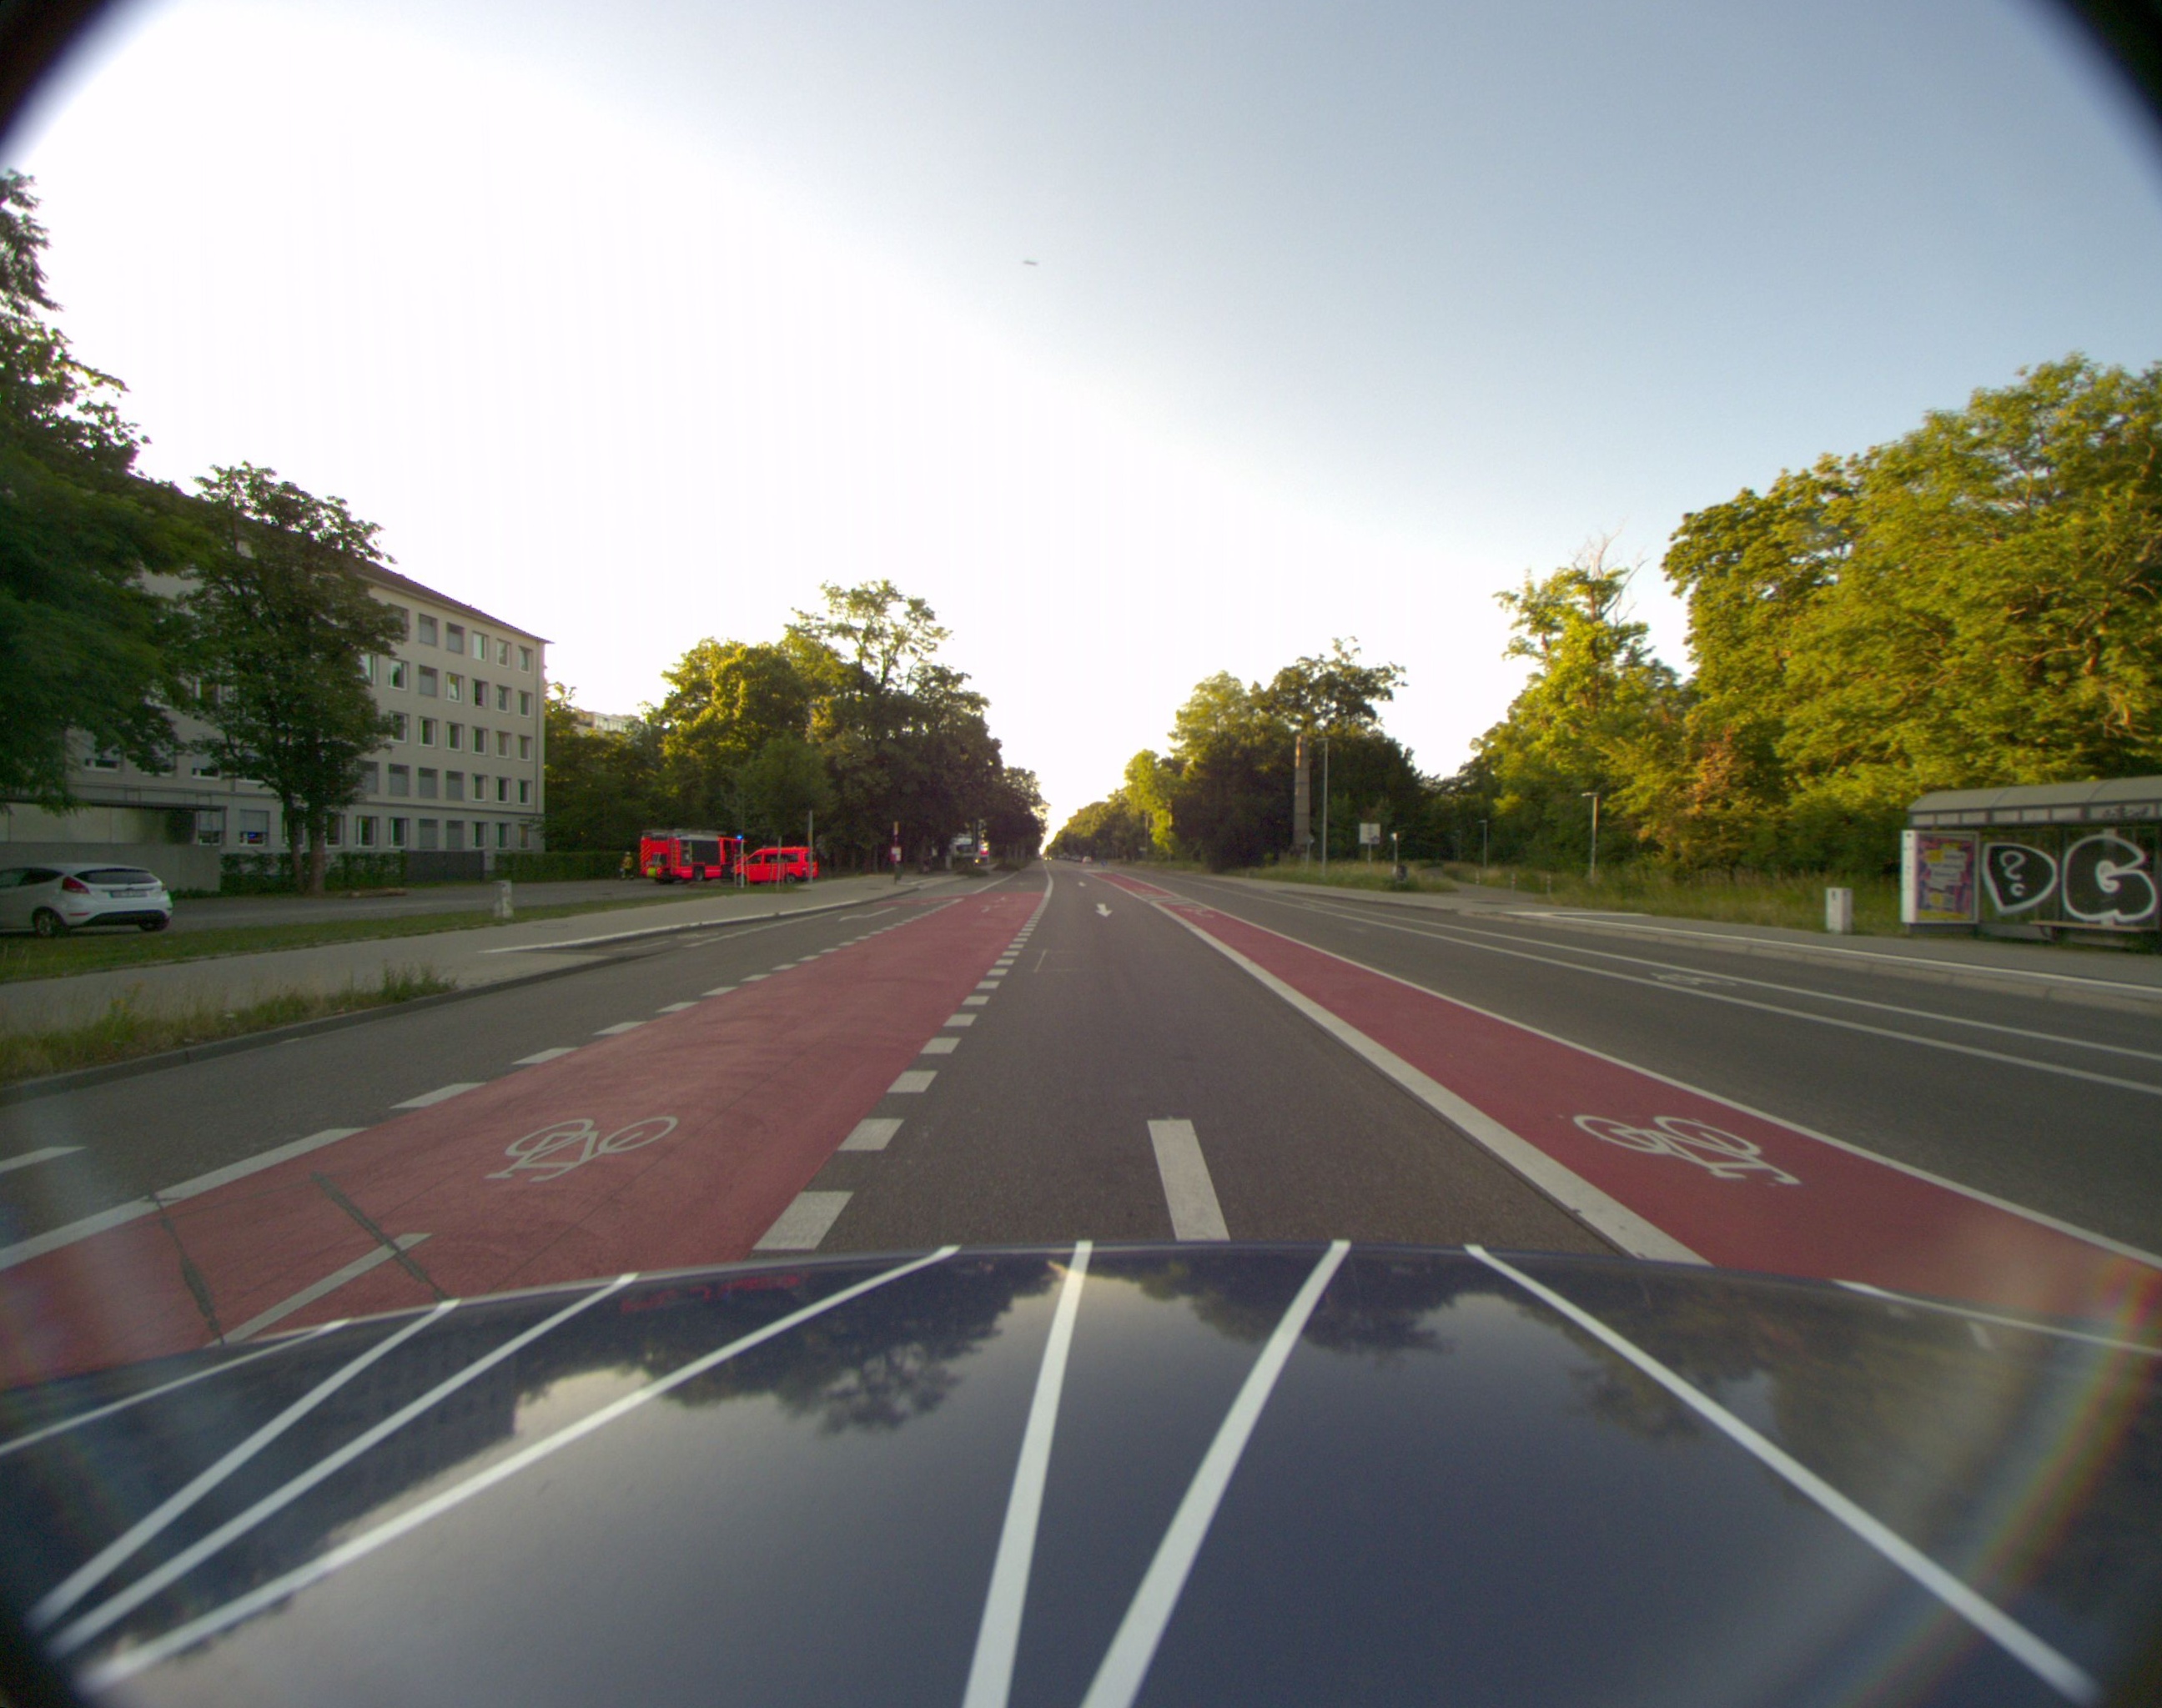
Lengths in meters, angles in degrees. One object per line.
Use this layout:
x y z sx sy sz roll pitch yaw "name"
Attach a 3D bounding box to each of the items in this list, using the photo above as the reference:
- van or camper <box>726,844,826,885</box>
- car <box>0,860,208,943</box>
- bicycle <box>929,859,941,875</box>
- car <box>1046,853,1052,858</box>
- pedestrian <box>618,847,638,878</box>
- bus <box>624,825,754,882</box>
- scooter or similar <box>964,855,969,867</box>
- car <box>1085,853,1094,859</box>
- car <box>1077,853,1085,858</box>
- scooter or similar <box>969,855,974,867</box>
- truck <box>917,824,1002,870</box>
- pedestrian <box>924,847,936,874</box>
-17.726 0.586 44.346 4.823 2.232 2.296 -1 1 6 "van or camper"
-20.913 0.943 15.575 3.996 1.528 1.912 -1 1 4 "car"
-10.716 0.938 55.885 0.833 1.091 1.967 0 0 -9 "bicycle"
-11.022 0.609 260.834 1.999 1.608 3.999 0 0 -1 "car"
-29.402 0.571 49.350 0.772 2.002 0.826 0 1 9 "pedestrian"
-23.796 -0.035 46.749 2.993 3.177 7.968 -1 0 8 "bus"
-12.209 0.708 81.065 0.483 1.274 1.230 2 0 -8 "scooter or similar"
1.863 0.428 171.265 1.851 1.406 4.179 0 0 -2 "car"
0.047 0.351 189.877 1.754 1.299 3.999 1 0 -2 "car"
-11.922 0.712 82.726 0.483 1.274 1.139 2 0 -8 "scooter or similar"
-16.233 -0.915 99.549 5.169 5.542 15.044 0 0 -34 "truck"
-11.192 0.483 56.317 0.725 2.002 0.695 0 1 -1 "pedestrian"
